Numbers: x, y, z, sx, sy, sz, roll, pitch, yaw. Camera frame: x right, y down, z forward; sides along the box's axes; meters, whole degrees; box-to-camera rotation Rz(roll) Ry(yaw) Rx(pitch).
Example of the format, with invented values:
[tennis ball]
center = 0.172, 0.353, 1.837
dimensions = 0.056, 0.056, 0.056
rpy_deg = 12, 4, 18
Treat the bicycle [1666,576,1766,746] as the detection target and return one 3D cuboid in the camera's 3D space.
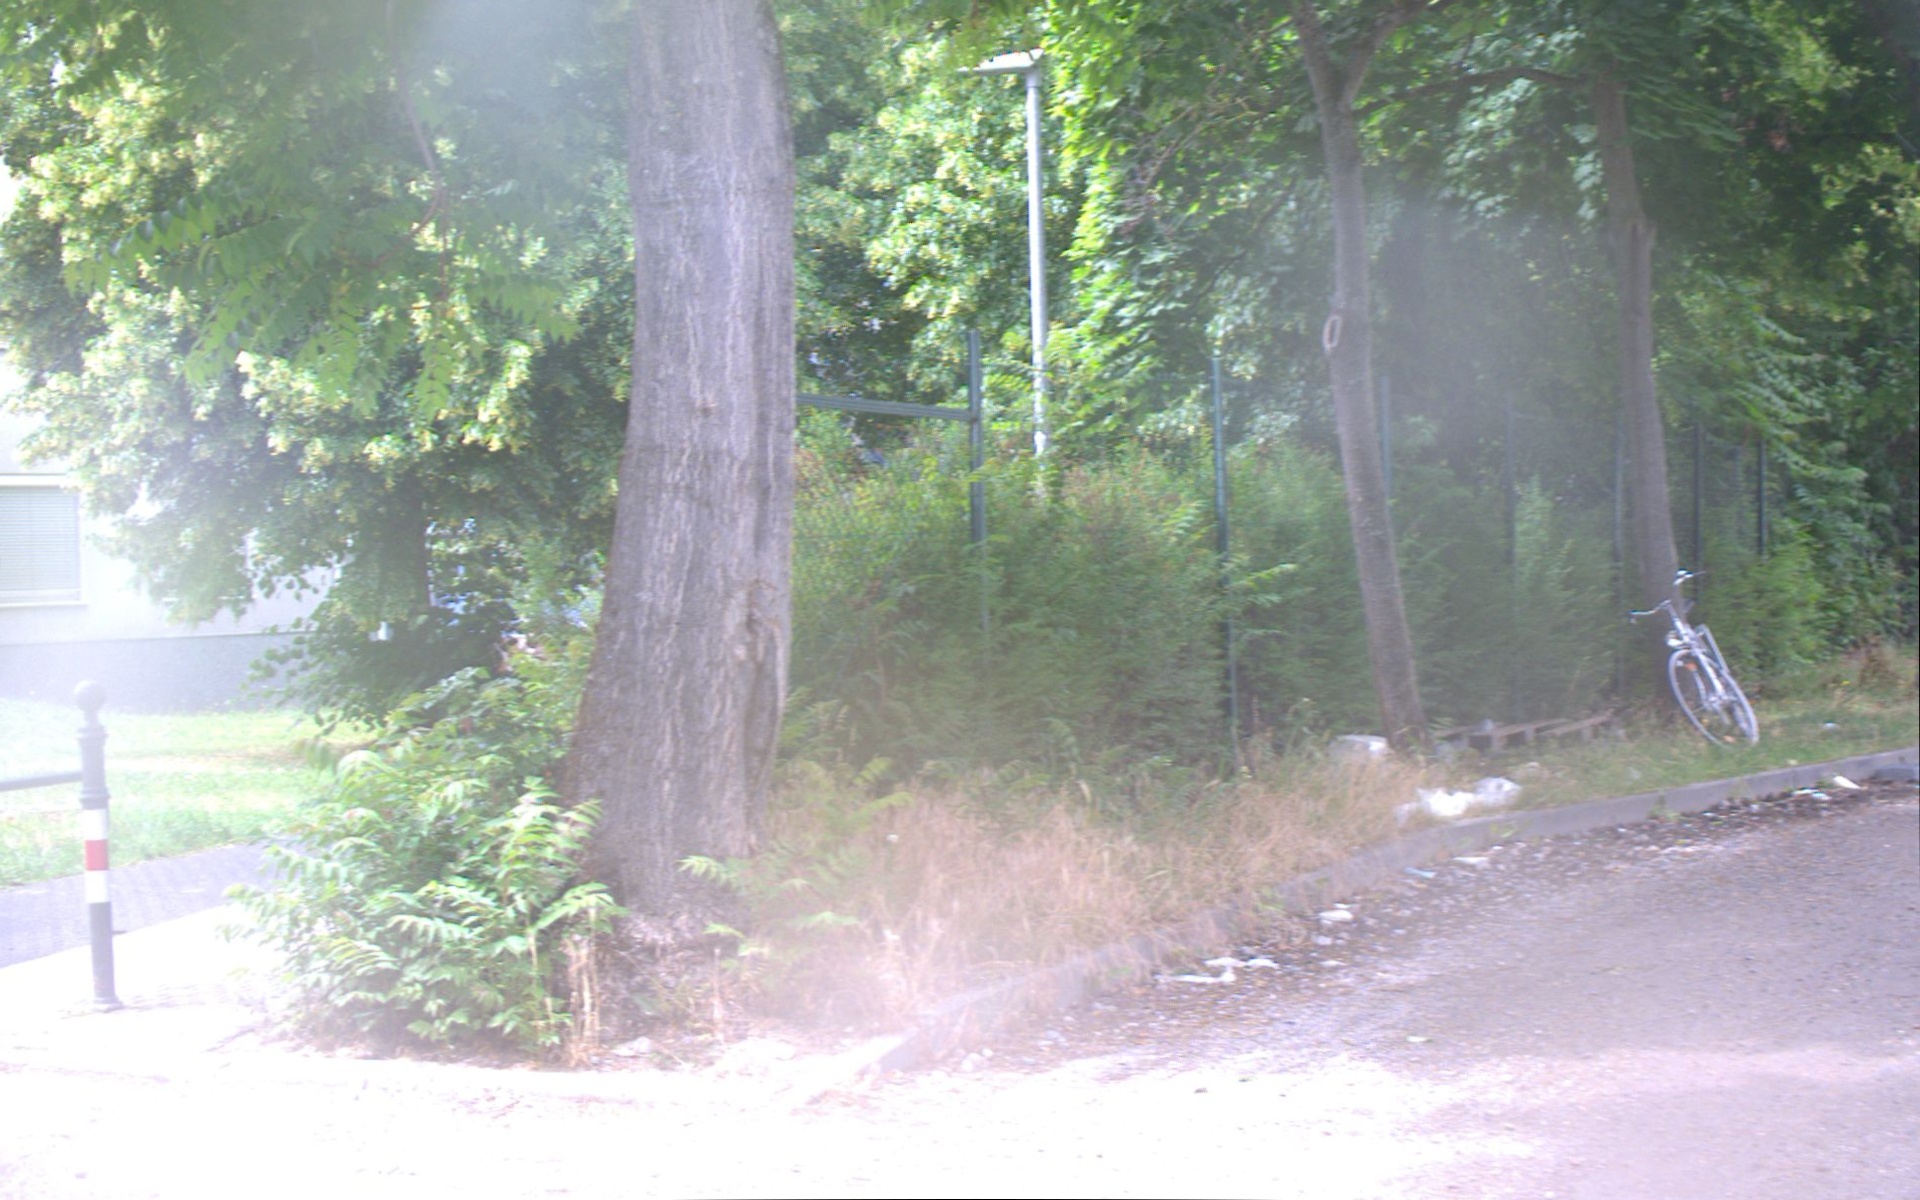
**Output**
[bicycle]
center = 4.239, 0.324, 19.224
dimensions = 0.467, 0.876, 1.569
rpy_deg = 0, 2, 15
